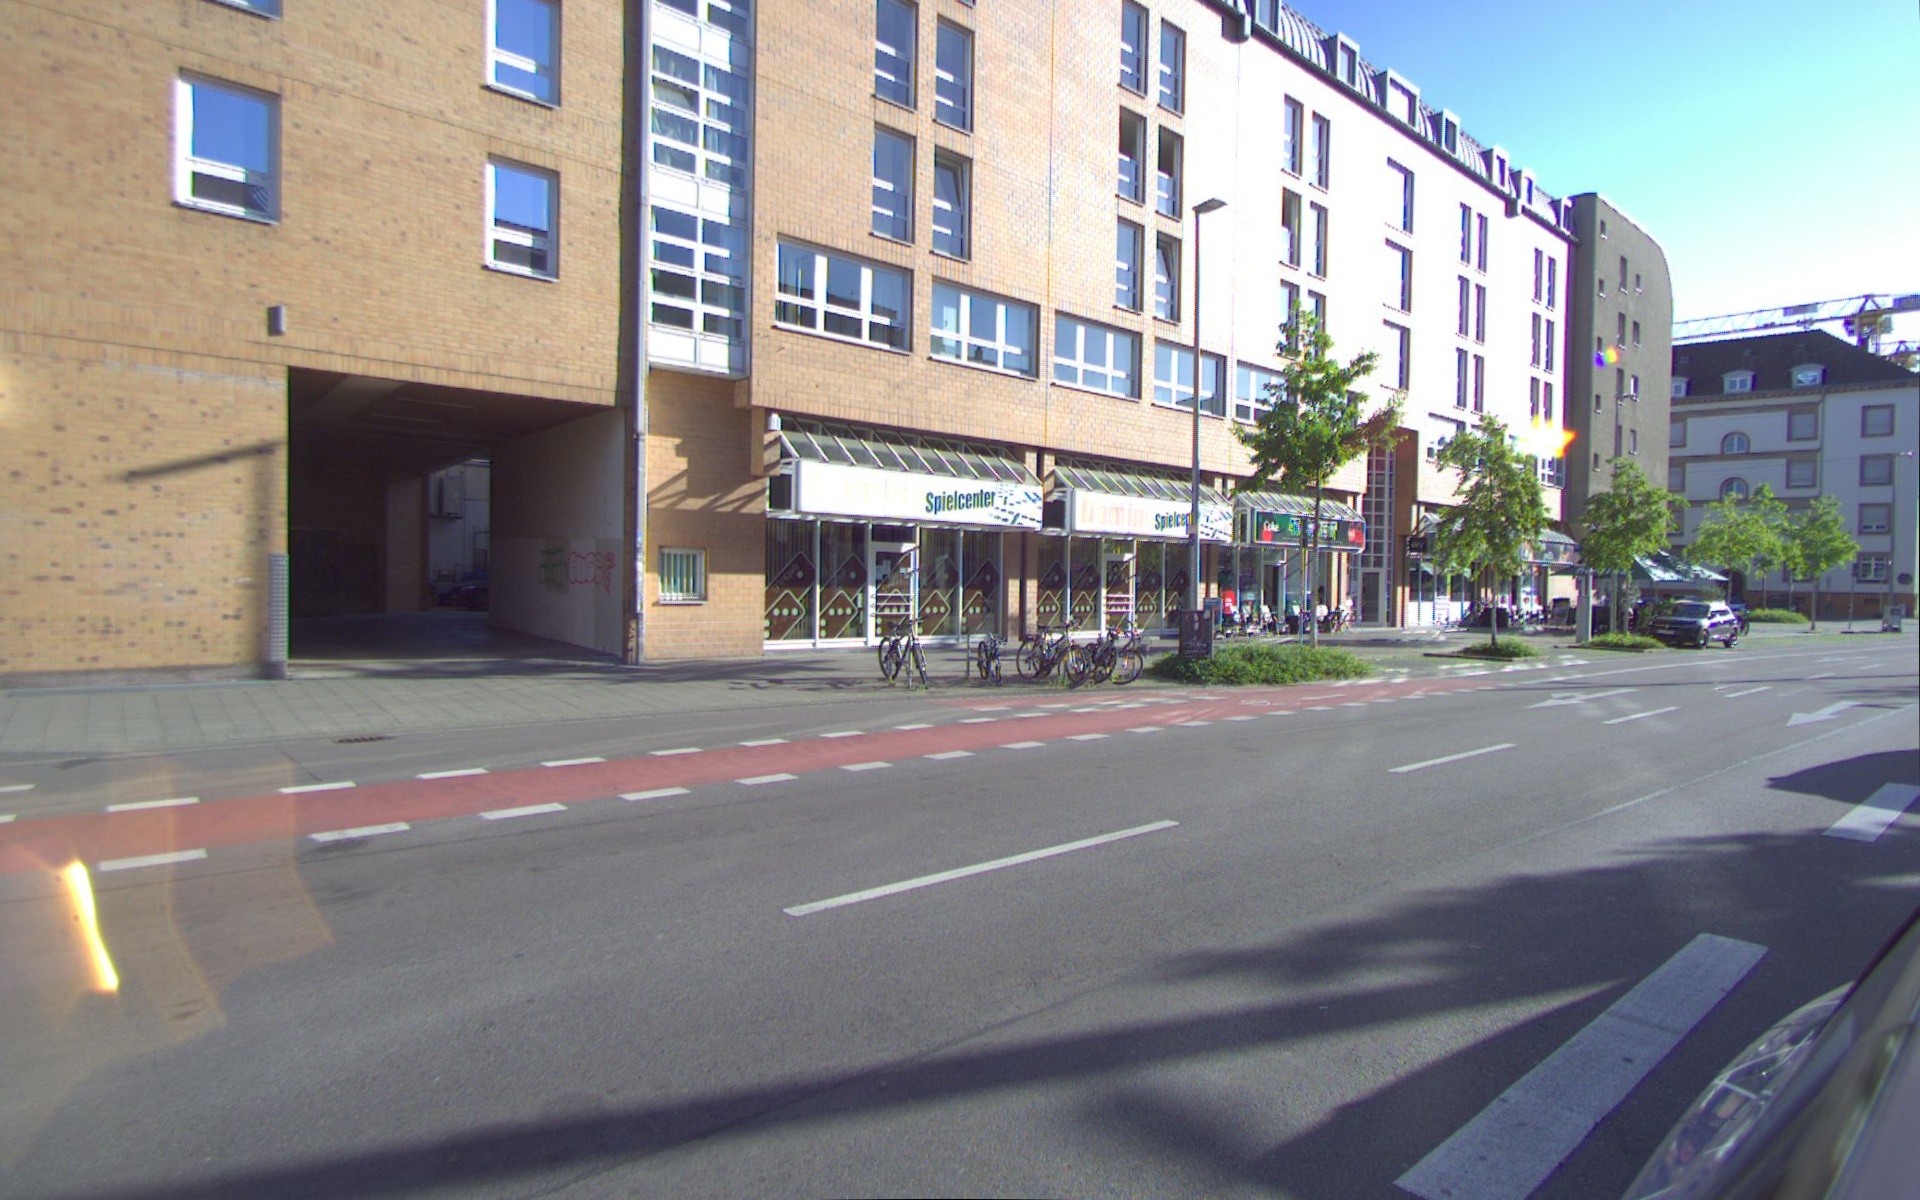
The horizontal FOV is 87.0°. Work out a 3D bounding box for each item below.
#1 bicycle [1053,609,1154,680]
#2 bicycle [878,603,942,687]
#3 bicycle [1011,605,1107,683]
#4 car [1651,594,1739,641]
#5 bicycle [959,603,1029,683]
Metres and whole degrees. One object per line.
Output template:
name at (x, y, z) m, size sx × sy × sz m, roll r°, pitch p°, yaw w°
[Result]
bicycle at (2.534, 0.764, 18.062) m, size 0.724 × 1.084 × 1.775 m, roll -1°, pitch 3°, yaw -37°
bicycle at (-0.830, 0.690, 16.321) m, size 0.541 × 1.162 × 1.780 m, roll 0°, pitch 3°, yaw -20°
bicycle at (1.658, 0.714, 17.225) m, size 0.543 × 1.155 × 1.775 m, roll -1°, pitch 3°, yaw -37°
car at (25.733, 0.578, 35.398) m, size 3.628 × 1.549 × 1.654 m, roll -1°, pitch 0°, yaw -40°
bicycle at (0.537, 0.678, 16.791) m, size 0.541 × 1.162 × 1.780 m, roll 0°, pitch 3°, yaw -20°
